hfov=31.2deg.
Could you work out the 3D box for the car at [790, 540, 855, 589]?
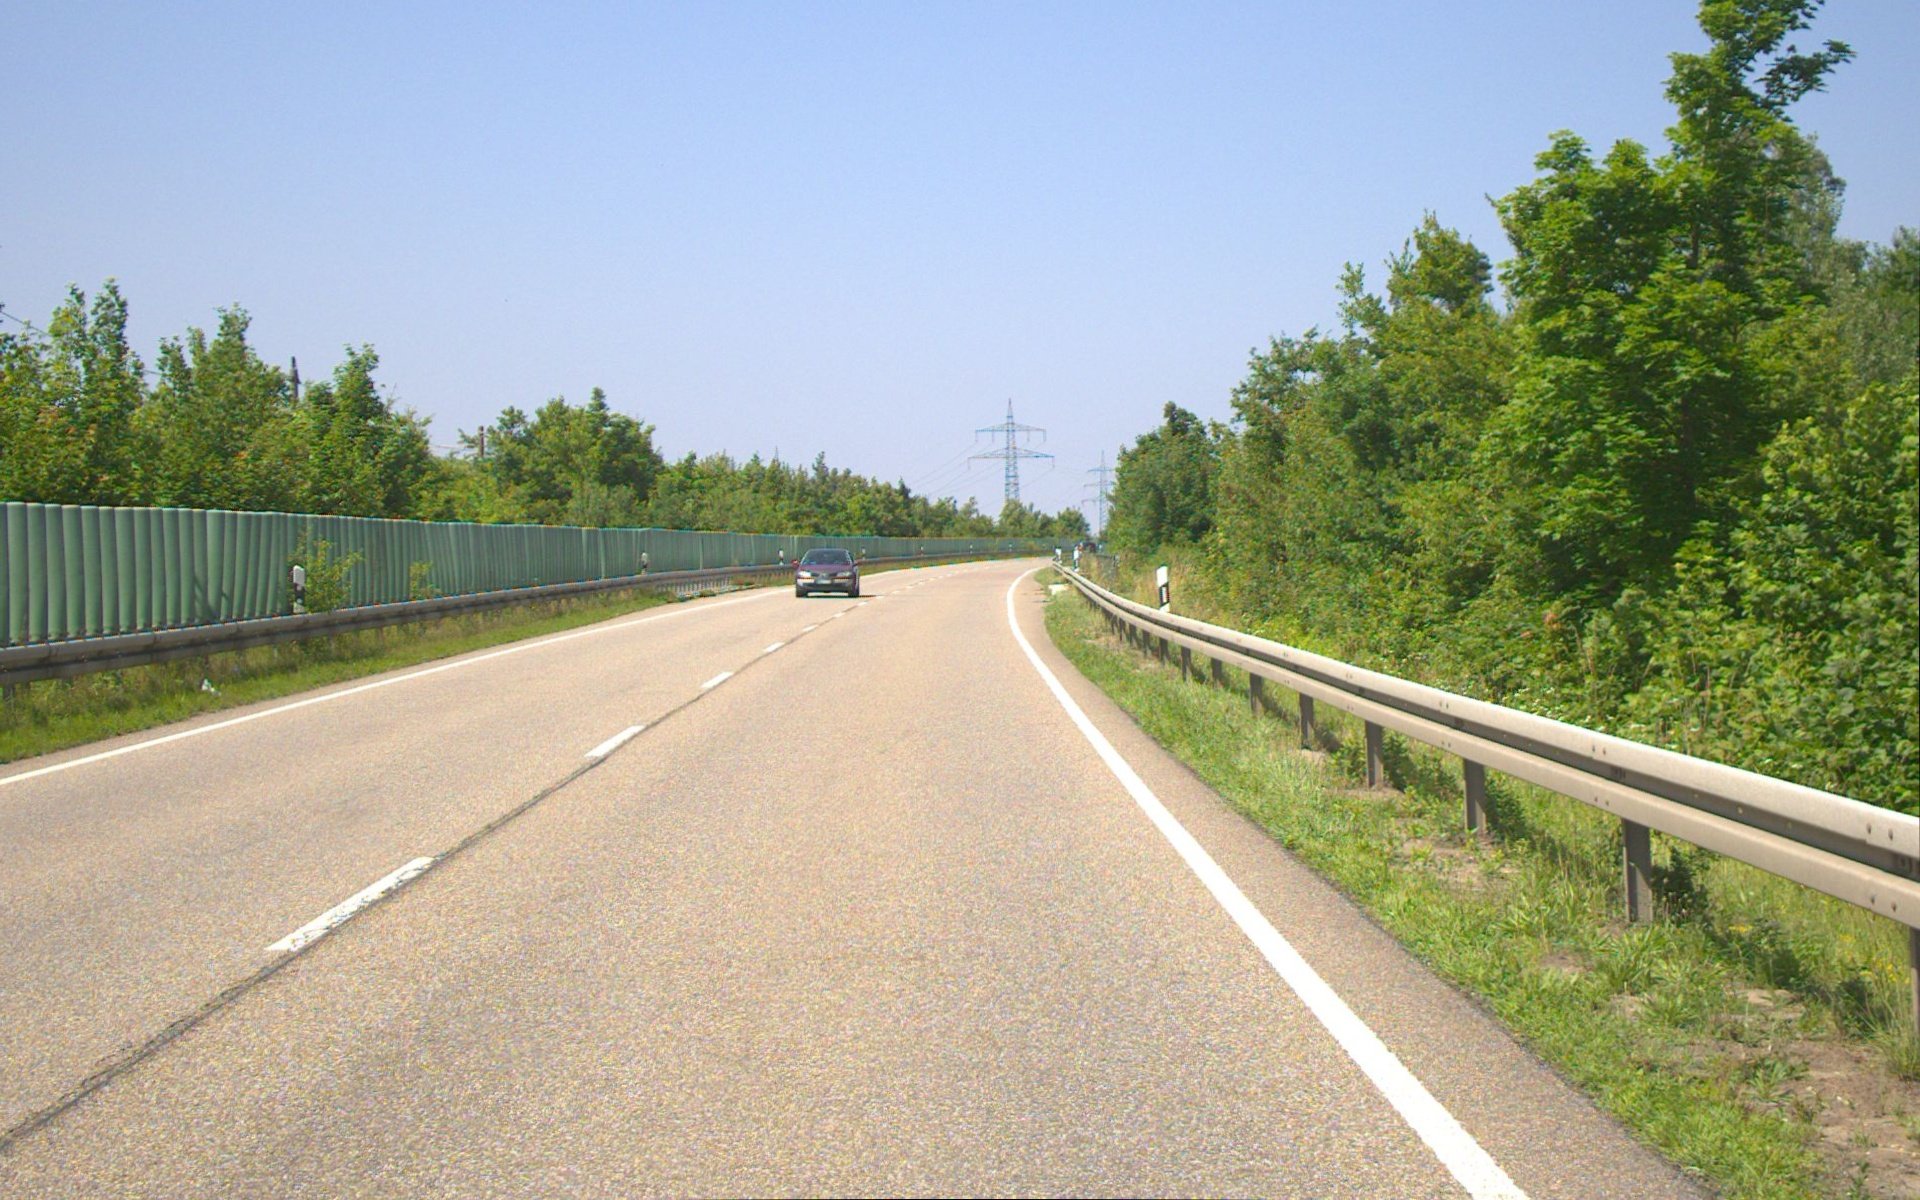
[{"bbox_3d":[-3.982,-1.050,100.238,1.786,1.367,3.897,0,1,-1],"label":"car"}]
